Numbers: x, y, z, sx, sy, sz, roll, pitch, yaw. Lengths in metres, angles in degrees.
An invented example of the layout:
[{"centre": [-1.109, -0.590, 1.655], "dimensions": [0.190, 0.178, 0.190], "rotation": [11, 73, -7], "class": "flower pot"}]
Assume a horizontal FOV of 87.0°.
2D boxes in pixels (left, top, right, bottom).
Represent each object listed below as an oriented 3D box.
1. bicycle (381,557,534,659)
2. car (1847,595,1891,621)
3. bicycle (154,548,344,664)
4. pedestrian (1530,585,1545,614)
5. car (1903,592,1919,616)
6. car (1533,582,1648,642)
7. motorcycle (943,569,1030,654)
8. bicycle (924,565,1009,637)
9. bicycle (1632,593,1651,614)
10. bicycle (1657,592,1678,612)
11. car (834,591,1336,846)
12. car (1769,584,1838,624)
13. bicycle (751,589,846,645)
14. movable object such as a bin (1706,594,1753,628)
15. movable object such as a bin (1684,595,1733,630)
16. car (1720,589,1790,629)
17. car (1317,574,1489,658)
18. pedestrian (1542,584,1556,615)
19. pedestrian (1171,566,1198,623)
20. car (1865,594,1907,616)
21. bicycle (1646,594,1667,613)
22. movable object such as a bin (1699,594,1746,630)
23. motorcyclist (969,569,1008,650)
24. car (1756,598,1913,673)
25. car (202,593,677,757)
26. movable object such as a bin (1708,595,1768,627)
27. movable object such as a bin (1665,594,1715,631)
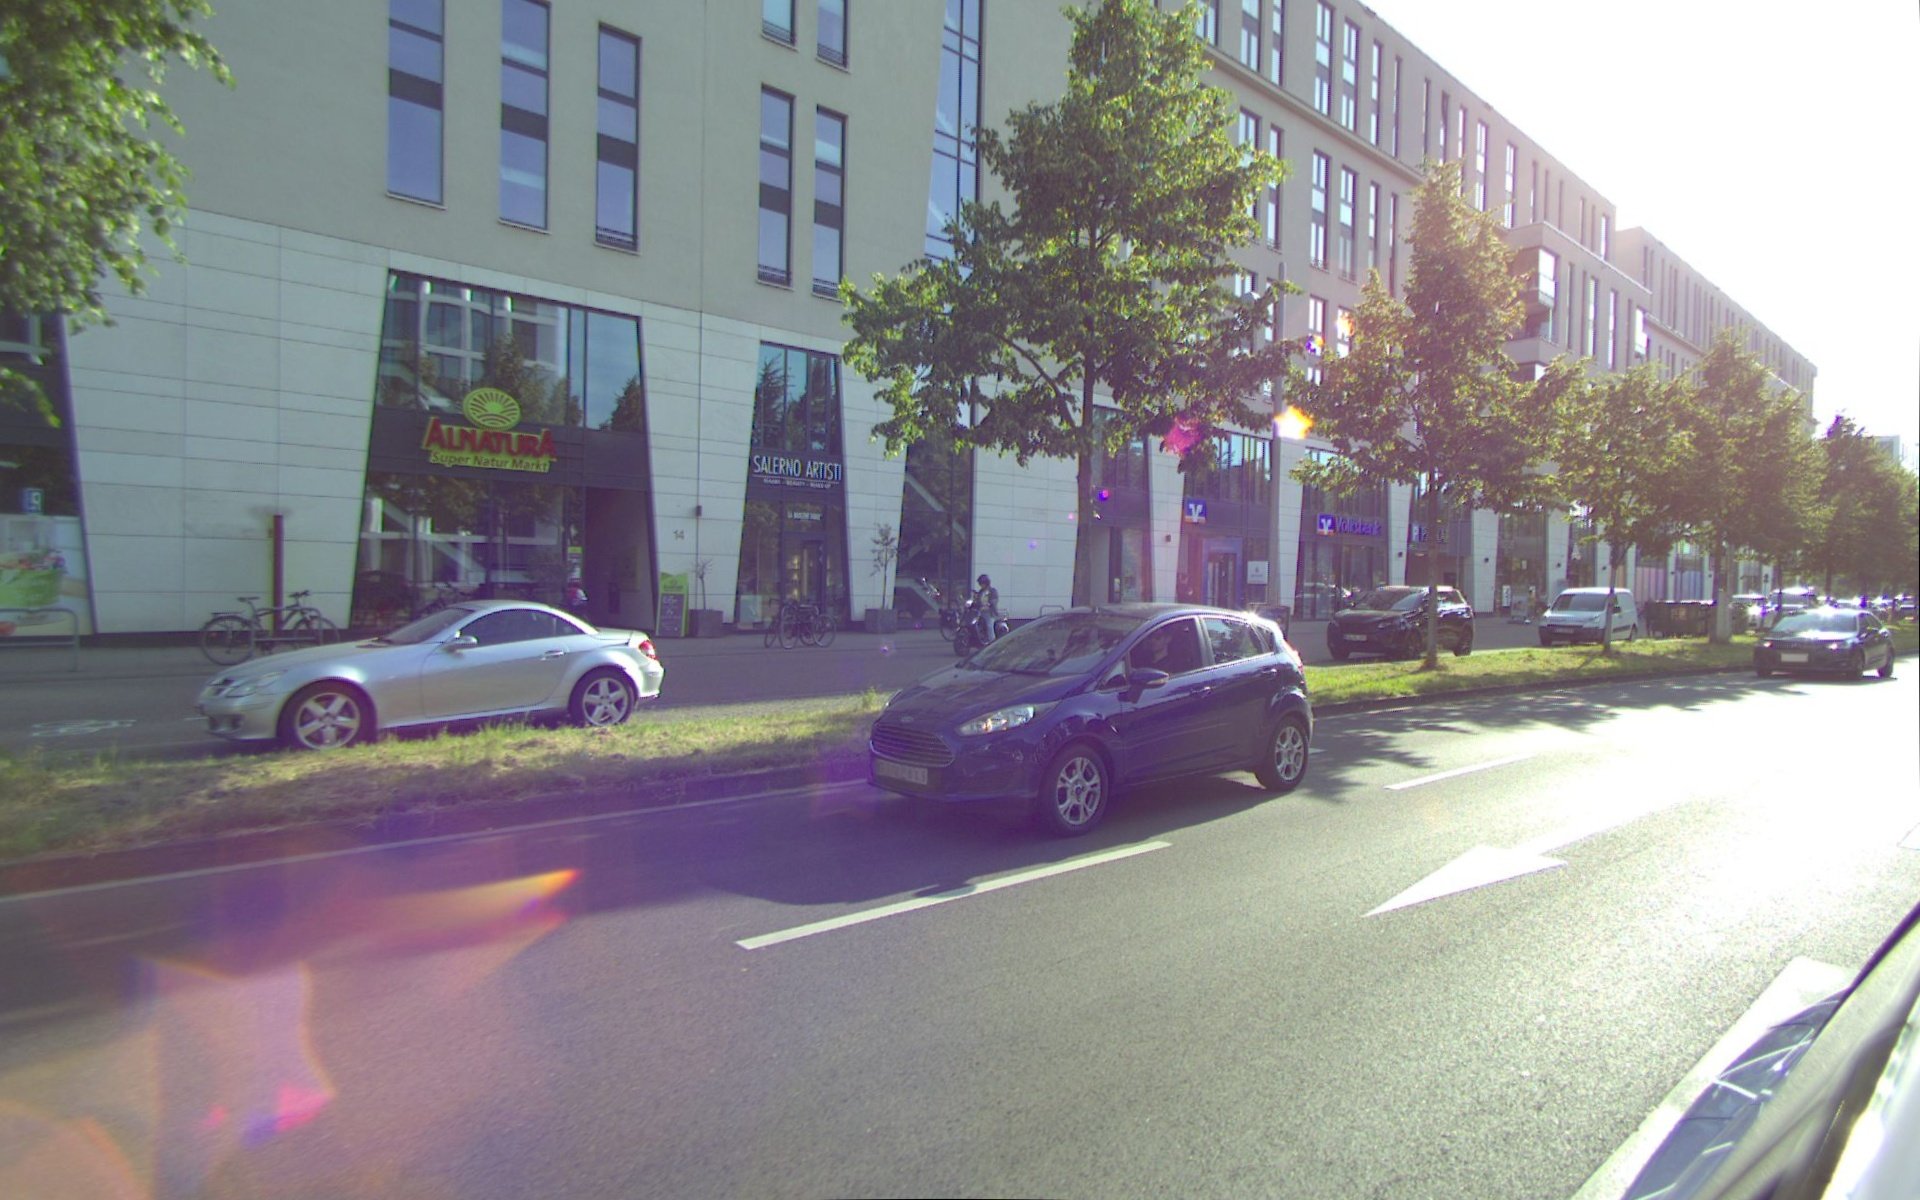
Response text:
[{"centre": [-8.164, 0.106, 16.518], "dimensions": [2.173, 1.587, 0.556], "rotation": [-1, 0, -40], "class": "bicycle"}, {"centre": [52.969, 0.436, 58.950], "dimensions": [4.098, 1.430, 1.617], "rotation": [-1, 0, -43], "class": "car"}, {"centre": [-10.368, 0.063, 14.828], "dimensions": [2.236, 1.590, 0.556], "rotation": [-1, 0, -40], "class": "bicycle"}, {"centre": [30.360, -0.026, 53.197], "dimensions": [0.587, 1.541, 0.514], "rotation": [0, 0, -41], "class": "pedestrian"}, {"centre": [77.009, 0.296, 80.896], "dimensions": [4.760, 1.898, 1.897], "rotation": [-1, 0, -41], "class": "car"}, {"centre": [19.282, 0.317, 30.880], "dimensions": [4.222, 1.733, 1.830], "rotation": [-1, 0, -41], "class": "car"}, {"centre": [0.574, 0.200, 21.116], "dimensions": [0.700, 1.636, 1.984], "rotation": [6, 5, 39], "class": "motorcycle"}, {"centre": [0.178, 0.007, 23.938], "dimensions": [2.173, 1.639, 0.556], "rotation": [-1, 0, -40], "class": "bicycle"}, {"centre": [38.129, 0.197, 56.625], "dimensions": [1.702, 1.094, 0.345], "rotation": [-1, 5, -40], "class": "bicycle"}, {"centre": [42.372, 0.109, 60.598], "dimensions": [2.071, 1.112, 0.420], "rotation": [-1, 5, -40], "class": "bicycle"}, {"centre": [1.095, 0.677, 7.575], "dimensions": [3.838, 1.442, 1.563], "rotation": [0, 0, -40], "class": "car"}, {"centre": [42.452, 0.159, 50.901], "dimensions": [4.943, 1.900, 1.841], "rotation": [-1, 0, -41], "class": "car"}, {"centre": [-3.308, 0.329, 20.836], "dimensions": [1.871, 1.097, 0.635], "rotation": [0, 2, -40], "class": "bicycle"}, {"centre": [30.339, 0.423, 39.901], "dimensions": [1.172, 1.318, 1.278], "rotation": [-1, 0, -44], "class": "movable object such as a bin"}, {"centre": [27.514, 0.432, 37.191], "dimensions": [1.172, 1.252, 1.278], "rotation": [-1, 0, -44], "class": "movable object such as a bin"}, {"centre": [35.274, 0.377, 44.875], "dimensions": [4.769, 1.650, 1.732], "rotation": [0, 2, -43], "class": "car"}, {"centre": [10.201, 0.340, 23.145], "dimensions": [4.597, 1.730, 1.899], "rotation": [1, -1, -42], "class": "car"}, {"centre": [30.682, -0.047, 52.735], "dimensions": [0.513, 1.594, 0.532], "rotation": [-1, 0, 42], "class": "pedestrian"}, {"centre": [7.104, -0.164, 32.053], "dimensions": [0.635, 1.785, 0.538], "rotation": [0, 0, -40], "class": "pedestrian"}, {"centre": [64.225, 0.324, 70.194], "dimensions": [4.043, 1.450, 1.731], "rotation": [-1, 0, -42], "class": "car"}, {"centre": [40.392, 0.201, 58.697], "dimensions": [2.008, 1.012, 0.419], "rotation": [-1, 5, -40], "class": "bicycle"}, {"centre": [29.417, 0.440, 39.033], "dimensions": [1.172, 1.334, 1.278], "rotation": [-1, 0, -44], "class": "movable object such as a bin"}, {"centre": [0.595, 0.189, 21.195], "dimensions": [0.623, 1.660, 0.411], "rotation": [4, 3, 41], "class": "motorcyclist"}, {"centre": [19.143, 0.708, 22.113], "dimensions": [3.963, 1.442, 1.700], "rotation": [-1, 0, -35], "class": "car"}, {"centre": [-4.929, 0.581, 9.870], "dimensions": [3.838, 1.258, 1.710], "rotation": [-1, 0, -42], "class": "car"}, {"centre": [31.473, 0.440, 40.950], "dimensions": [1.307, 1.252, 1.405], "rotation": [0, 0, -13], "class": "movable object such as a bin"}, {"centre": [26.409, 0.440, 36.618], "dimensions": [1.159, 1.308, 1.278], "rotation": [-1, 0, -44], "class": "movable object such as a bin"}]
